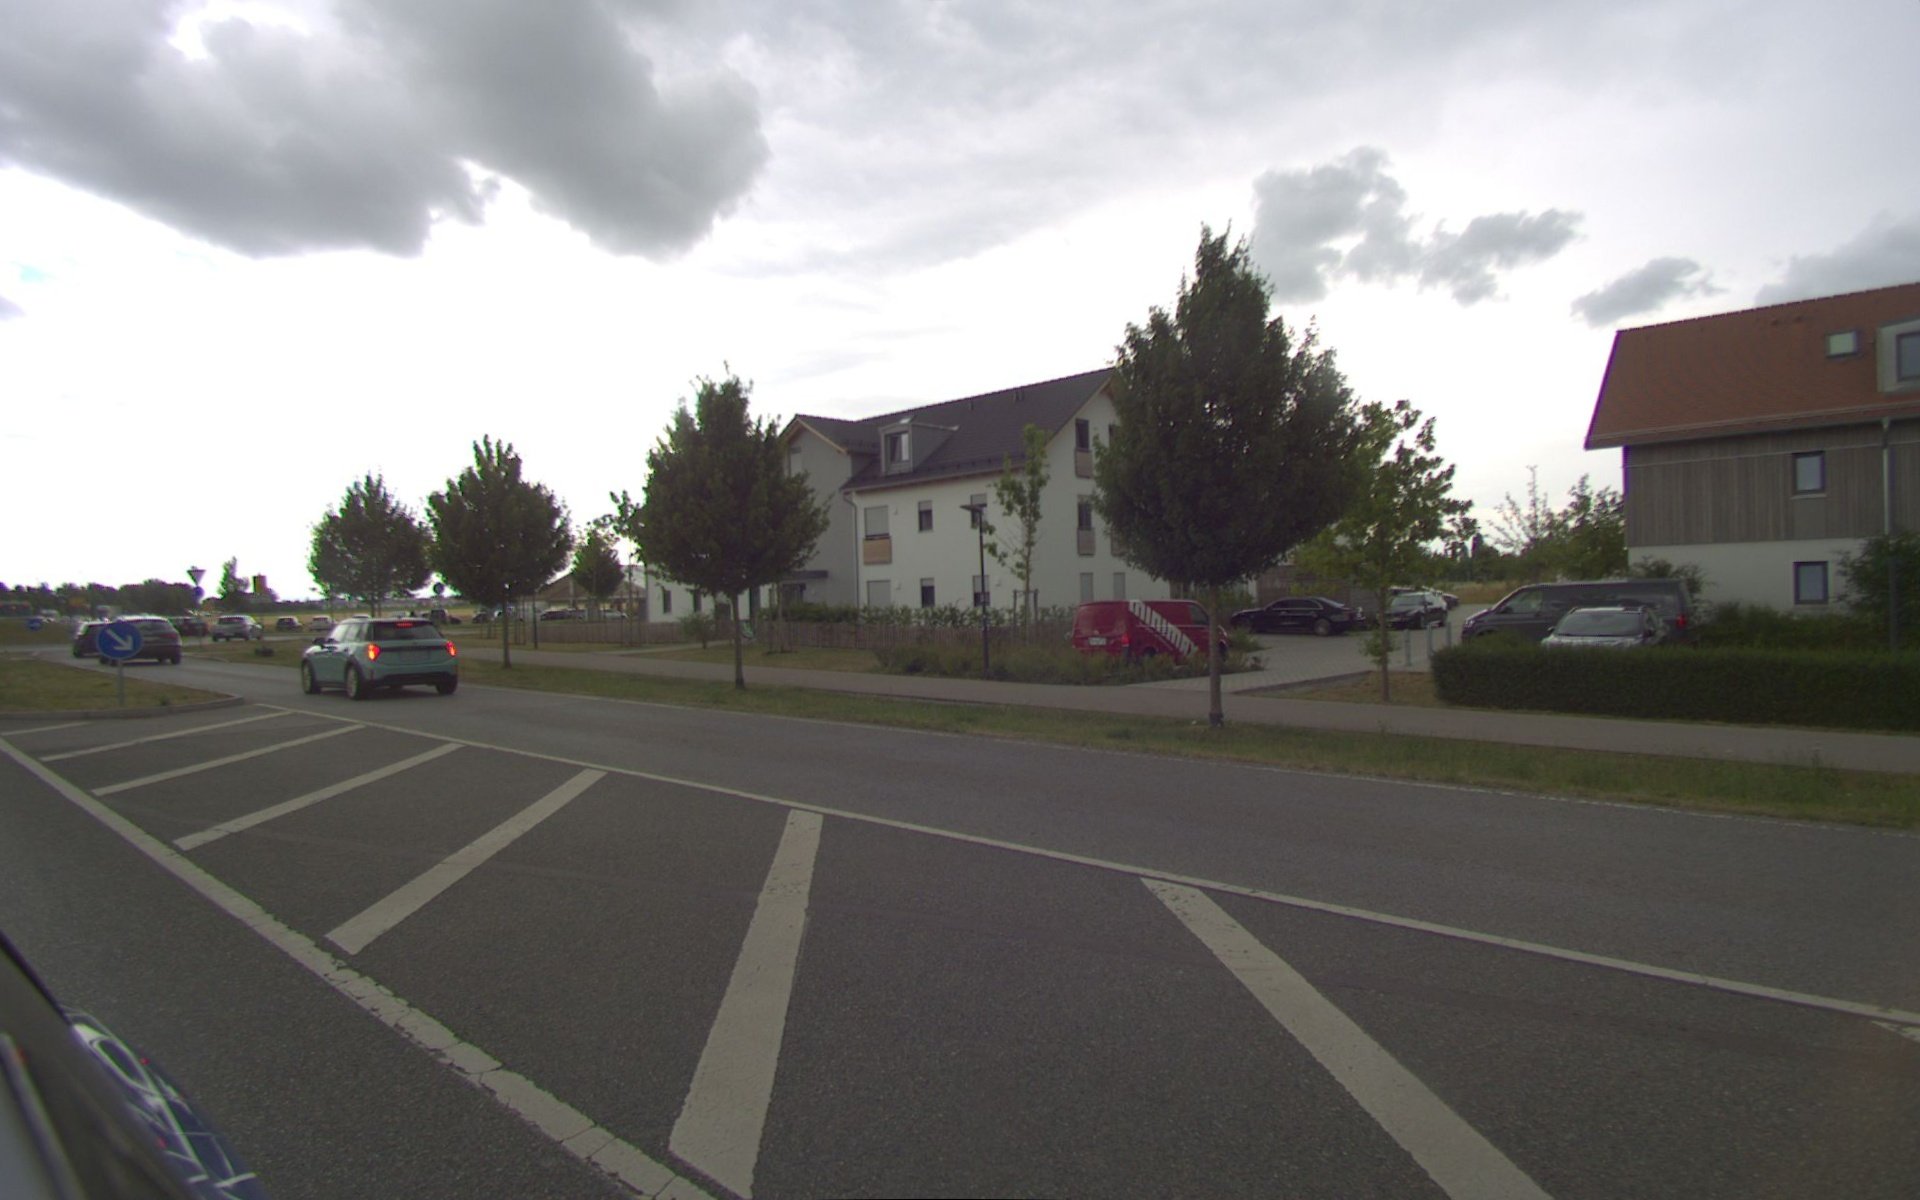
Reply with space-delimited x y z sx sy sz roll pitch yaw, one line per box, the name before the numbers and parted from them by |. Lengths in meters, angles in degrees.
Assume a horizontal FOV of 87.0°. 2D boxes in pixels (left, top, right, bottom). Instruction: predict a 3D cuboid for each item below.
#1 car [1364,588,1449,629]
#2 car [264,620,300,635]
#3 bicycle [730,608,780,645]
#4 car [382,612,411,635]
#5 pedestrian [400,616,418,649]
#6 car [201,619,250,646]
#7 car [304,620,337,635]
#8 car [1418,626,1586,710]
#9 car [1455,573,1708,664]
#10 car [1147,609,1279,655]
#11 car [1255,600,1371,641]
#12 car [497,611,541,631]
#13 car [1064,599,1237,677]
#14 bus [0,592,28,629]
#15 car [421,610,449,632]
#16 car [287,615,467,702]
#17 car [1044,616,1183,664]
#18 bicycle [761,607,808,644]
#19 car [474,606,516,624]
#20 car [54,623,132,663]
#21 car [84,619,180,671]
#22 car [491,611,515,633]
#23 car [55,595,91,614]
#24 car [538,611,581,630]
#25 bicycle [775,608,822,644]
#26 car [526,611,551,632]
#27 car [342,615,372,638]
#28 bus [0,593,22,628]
car | 18.496 0.369 41.862 2.000 1.598 3.943 -2 -2 43
car | -60.543 2.464 90.413 1.965 1.298 4.013 0 -1 -24
bicycle | -8.102 1.061 39.924 2.342 1.423 0.675 -2 -2 41
car | -52.130 2.203 93.669 1.965 2.029 4.013 0 -1 -24
pedestrian | -26.883 1.584 49.334 0.586 1.541 0.540 -2 1 41
car | -41.566 1.831 57.224 1.803 1.500 4.221 0 -2 -42
car | -57.721 2.513 91.419 1.965 1.298 4.013 0 -1 -24
car | 11.164 1.293 20.674 1.906 1.441 4.853 -2 -2 42
car | 15.857 0.477 26.043 5.202 2.028 1.972 -2 3 44
car | 8.756 1.092 35.179 3.998 1.519 1.973 -2 -2 41
car | 13.784 0.811 39.600 3.995 1.538 1.553 -2 0 39
car | -47.469 2.255 108.912 1.994 2.029 3.956 -2 -1 32
car | 5.002 0.928 26.165 4.848 1.830 1.908 0 -2 -44
bus | -88.100 0.970 93.167 6.486 3.305 2.950 -2 -2 44
car | -49.185 1.964 94.743 1.966 2.029 4.011 0 -1 -34
car | -10.999 1.044 18.997 3.998 1.454 1.751 -2 -2 41
car | 4.824 1.246 32.168 3.998 1.431 1.856 -2 -2 41
bicycle | -7.051 1.030 40.582 2.093 1.428 0.675 -2 -2 41
car | -52.575 1.714 114.545 1.991 2.029 3.961 -1 -1 29
car | -34.562 1.676 40.306 4.348 1.500 1.806 -2 -2 42
car | -27.177 1.450 33.172 4.214 1.594 1.806 -2 -2 42
car | -44.951 2.171 99.585 1.965 2.029 4.013 0 -1 -21
car | -73.293 0.397 83.649 3.998 1.454 1.751 -2 -2 41
car | -42.758 2.178 108.121 1.991 2.029 3.961 -1 -1 29
bicycle | -6.577 1.053 41.139 2.093 1.439 0.675 -2 -2 41
car | -41.625 2.136 99.965 2.194 2.029 4.013 0 -1 -21
car | -55.273 2.442 92.802 1.965 2.029 4.013 0 -1 -24
bus | -92.875 1.073 97.750 6.703 3.305 2.950 -2 -2 44
